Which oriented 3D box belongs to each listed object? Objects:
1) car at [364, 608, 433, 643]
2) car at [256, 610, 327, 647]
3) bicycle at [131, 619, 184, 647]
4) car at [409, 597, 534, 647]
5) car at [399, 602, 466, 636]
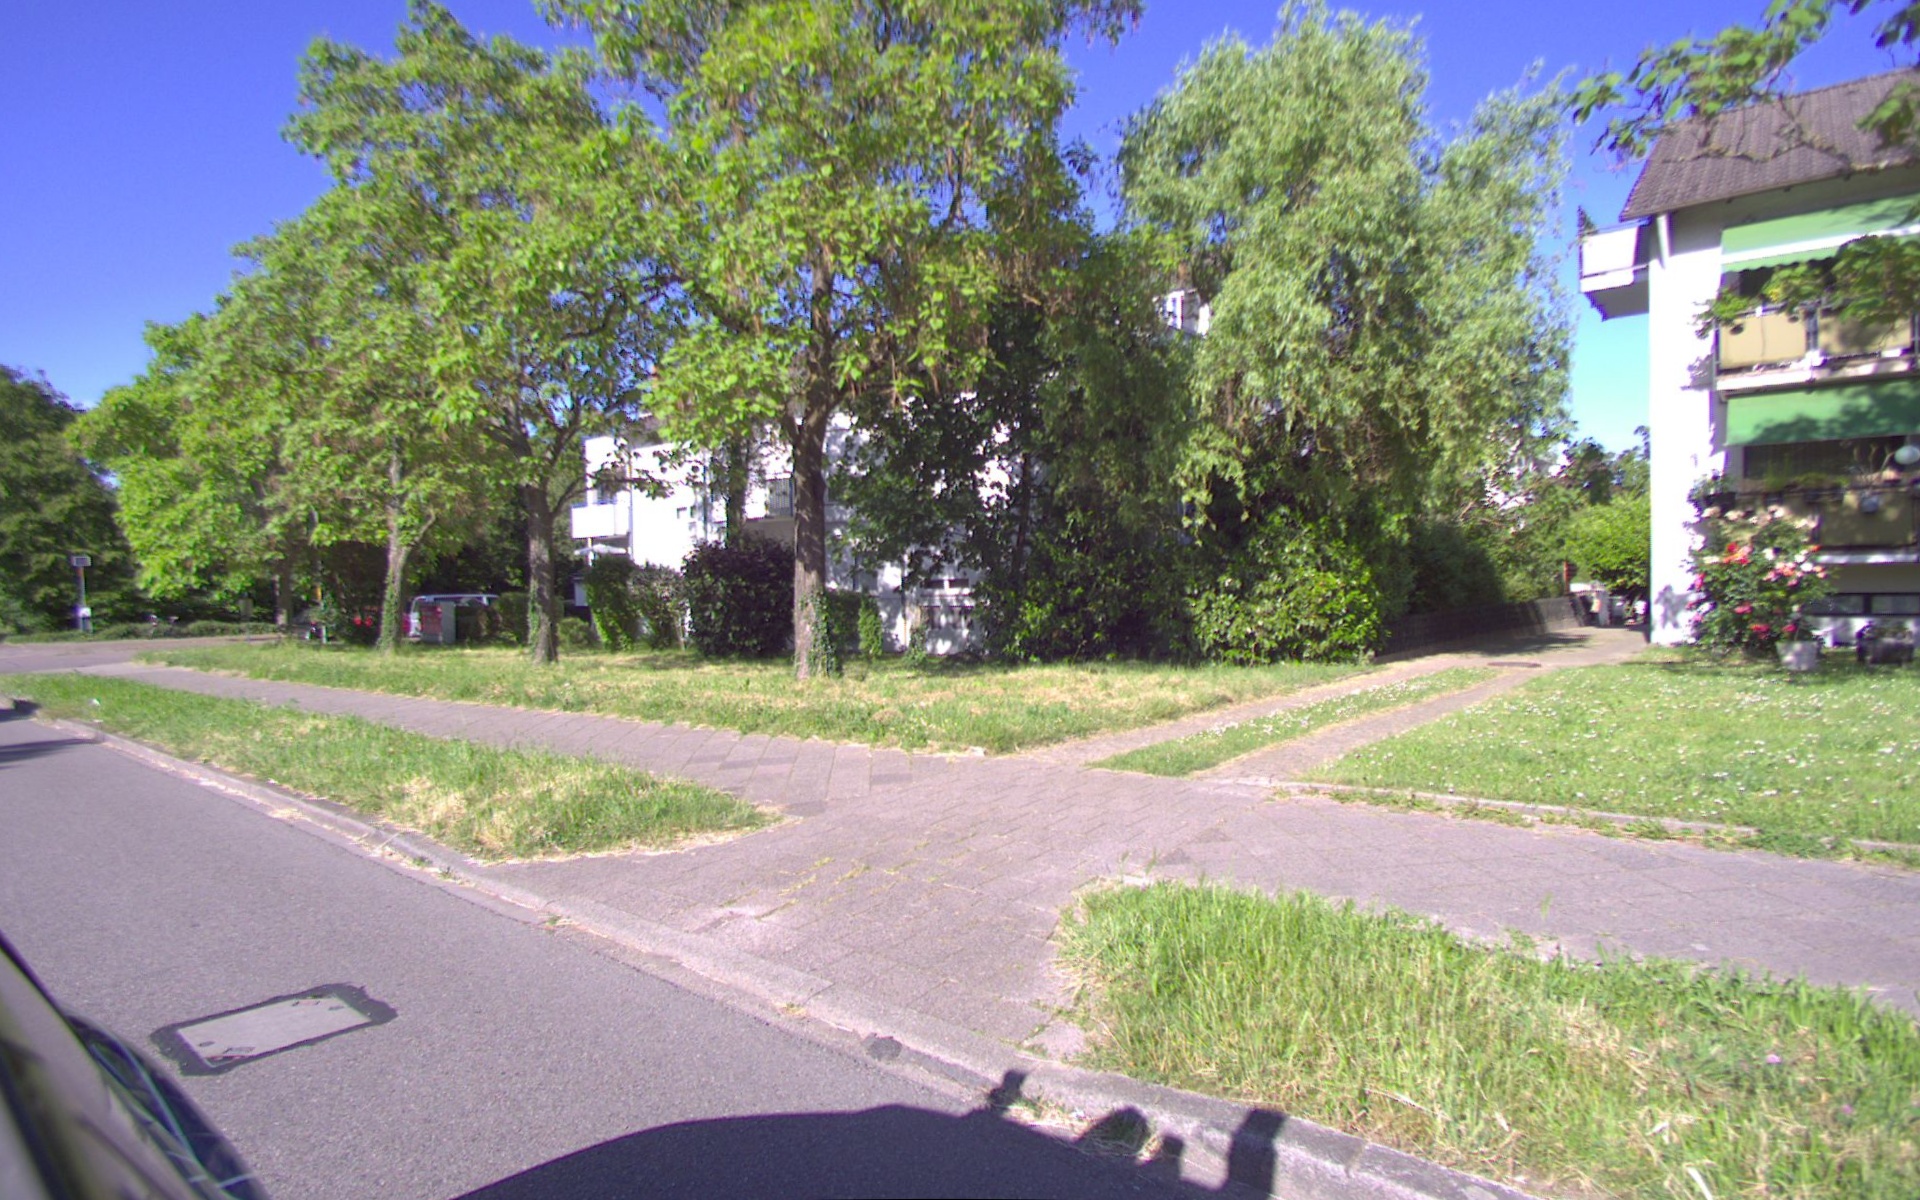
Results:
[{"bbox_3d":[-27.128,1.204,48.863,3.882,1.498,1.653,1,1,40],"label":"car"},{"bbox_3d":[-30.438,1.261,46.025,3.882,1.498,1.653,1,1,40],"label":"car"},{"bbox_3d":[-36.580,1.483,46.125,1.875,1.160,0.762,-1,3,-39],"label":"bicycle"},{"bbox_3d":[-20.908,0.942,43.421,2.069,1.984,4.402,-3,-1,43],"label":"car"},{"bbox_3d":[-26.734,0.929,51.220,3.882,1.615,1.653,1,1,40],"label":"car"}]
